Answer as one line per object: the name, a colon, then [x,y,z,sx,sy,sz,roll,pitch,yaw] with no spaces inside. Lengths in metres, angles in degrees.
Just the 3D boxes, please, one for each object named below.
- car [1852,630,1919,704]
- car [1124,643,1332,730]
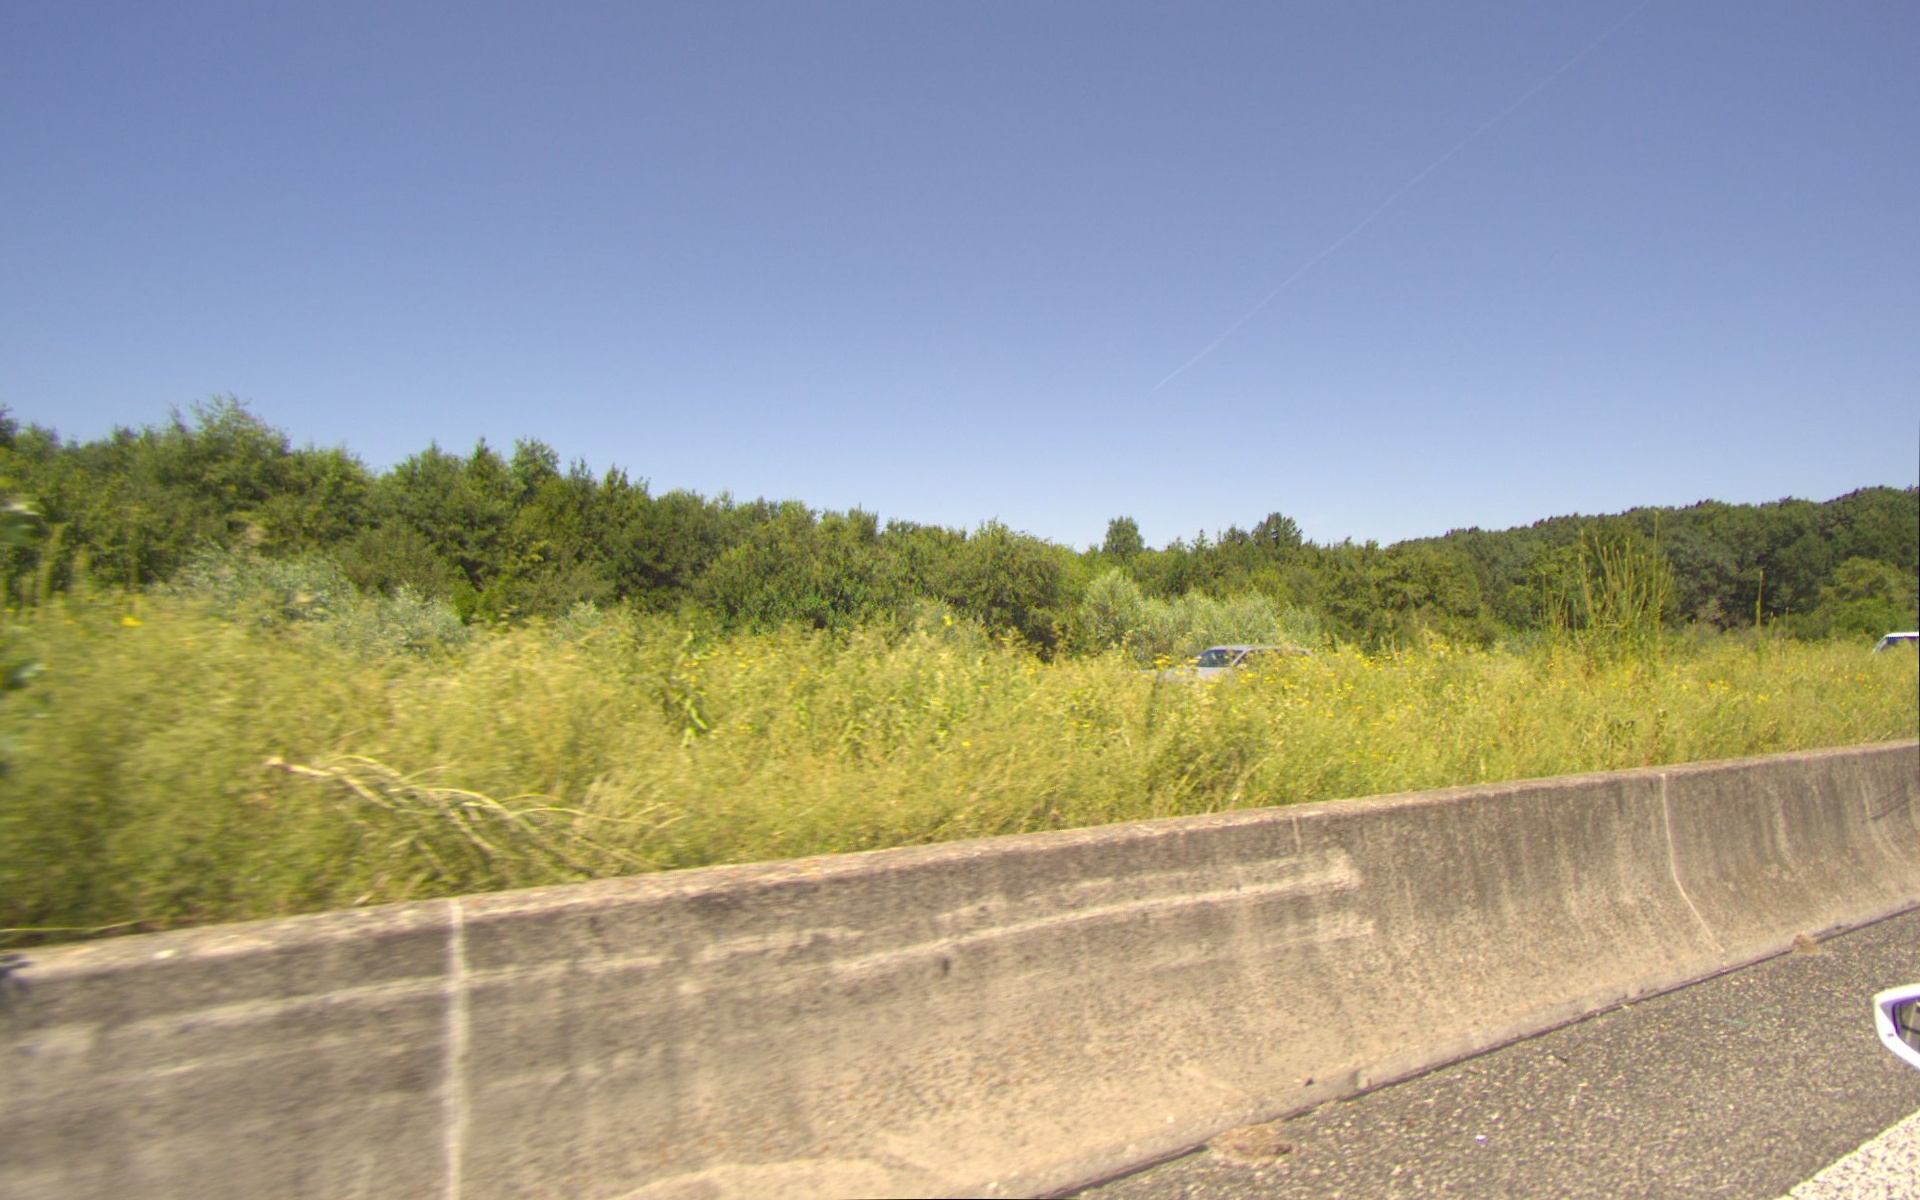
car: [24.841,1.647,25.373,5.057,1.743,1.984,1,-1,-30]
car: [6.003,1.851,22.396,4.410,1.698,1.952,2,0,-30]
